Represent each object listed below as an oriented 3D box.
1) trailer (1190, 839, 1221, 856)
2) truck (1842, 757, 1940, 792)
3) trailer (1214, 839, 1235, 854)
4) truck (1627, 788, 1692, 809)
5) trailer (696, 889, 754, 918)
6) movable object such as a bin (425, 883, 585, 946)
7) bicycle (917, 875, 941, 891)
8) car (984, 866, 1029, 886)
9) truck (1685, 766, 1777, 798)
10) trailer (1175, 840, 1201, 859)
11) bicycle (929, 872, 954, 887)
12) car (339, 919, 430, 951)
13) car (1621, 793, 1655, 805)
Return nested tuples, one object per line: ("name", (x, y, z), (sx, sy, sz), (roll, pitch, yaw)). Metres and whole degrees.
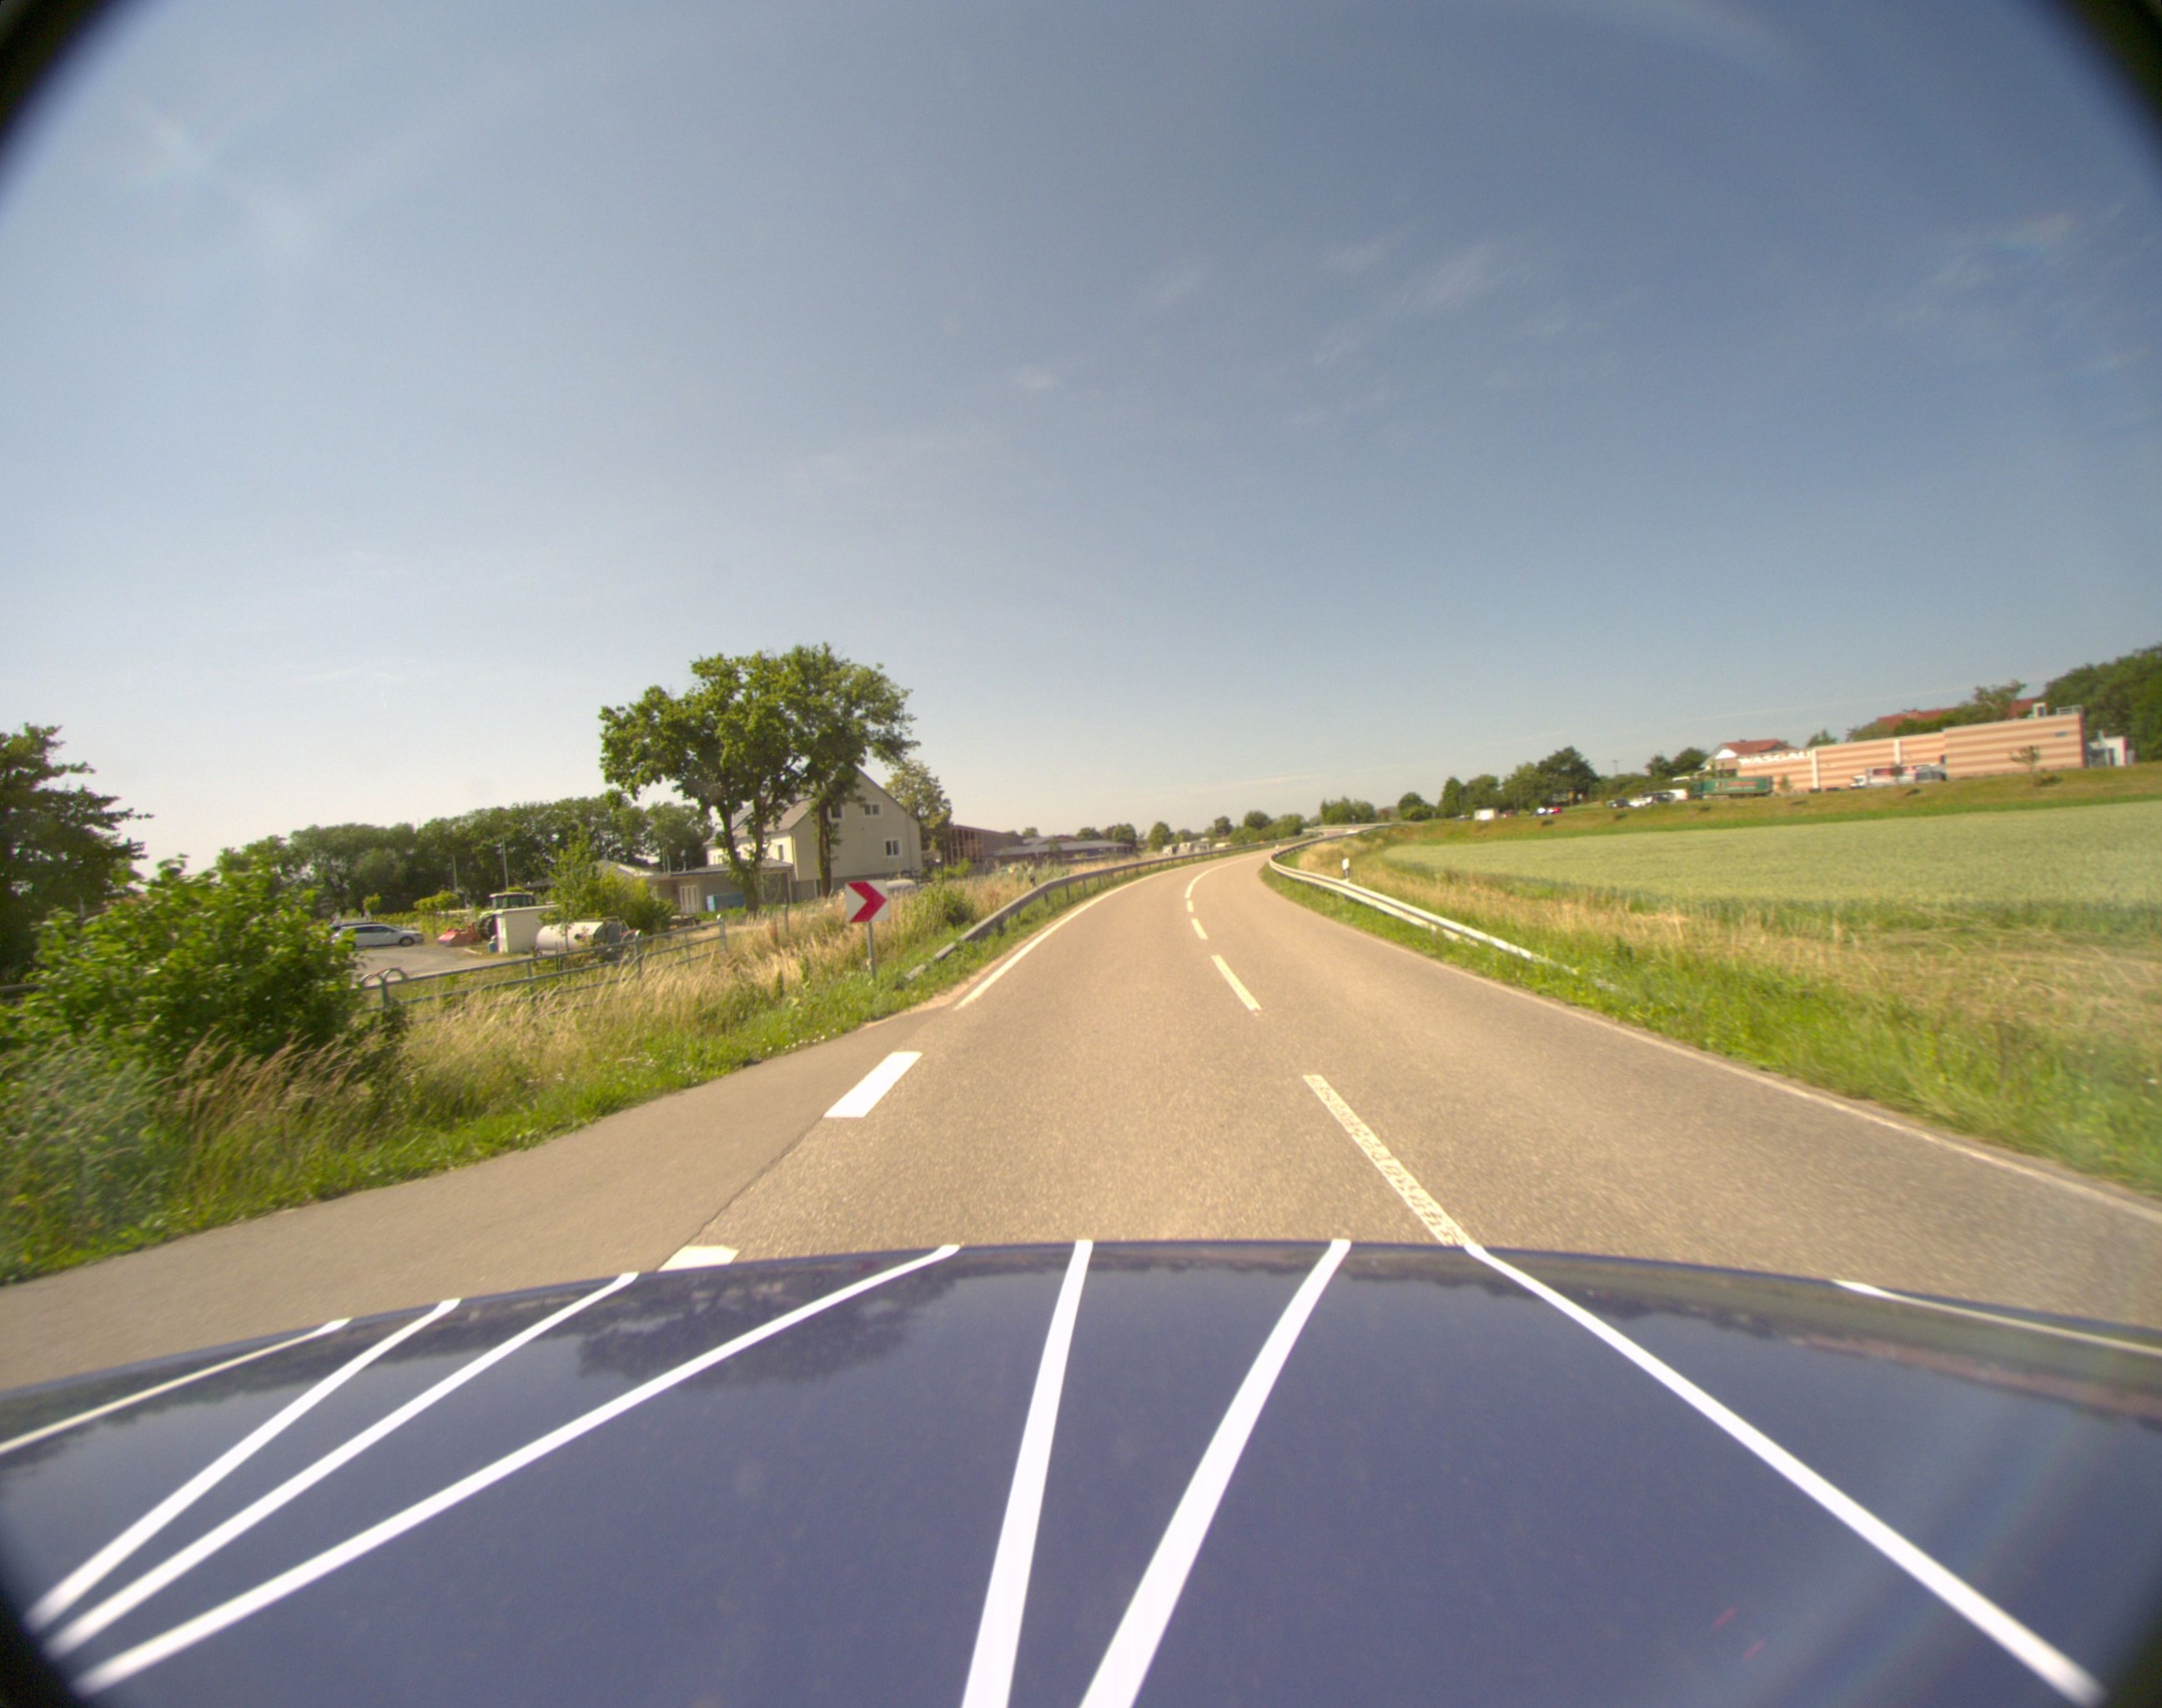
("trailer", (22.762, -1.118, 138.681), (2.212, 2.672, 5.176), (-5, 0, -41))
("truck", (110.410, -10.845, 103.692), (2.882, 3.544, 8.861), (-8, 2, -39))
("trailer", (28.863, -1.471, 153.035), (2.169, 2.789, 3.412), (-6, 1, -44))
("truck", (121.915, -11.763, 160.354), (10.695, 3.173, 2.450), (-5, 2, 35))
("trailer", (-24.072, 3.342, 51.345), (3.145, 1.488, 1.712), (-8, 2, -35))
("movable object such as a bin", (-32.781, 3.369, 43.506), (3.005, 2.753, 6.516), (-6, 0, 34))
("bicycle", (-13.406, 2.561, 67.041), (1.973, 1.185, 0.713), (-5, 0, -42))
("car", (-7.194, 2.131, 73.271), (1.936, 1.571, 4.363), (-8, 1, -42))
("truck", (97.370, -10.707, 114.018), (2.882, 3.458, 9.919), (-8, 2, -36))
("trailer", (17.743, -0.718, 126.178), (2.235, 2.848, 5.038), (-4, 0, -16))
("bicycle", (-12.219, 2.236, 66.385), (1.973, 1.185, 0.713), (-5, 1, -42))
("car", (-40.987, 4.735, 44.755), (1.995, 1.564, 3.885), (-5, -4, 44))
("car", (98.755, -9.727, 134.719), (2.003, 1.694, 4.323), (-8, 2, -41))
